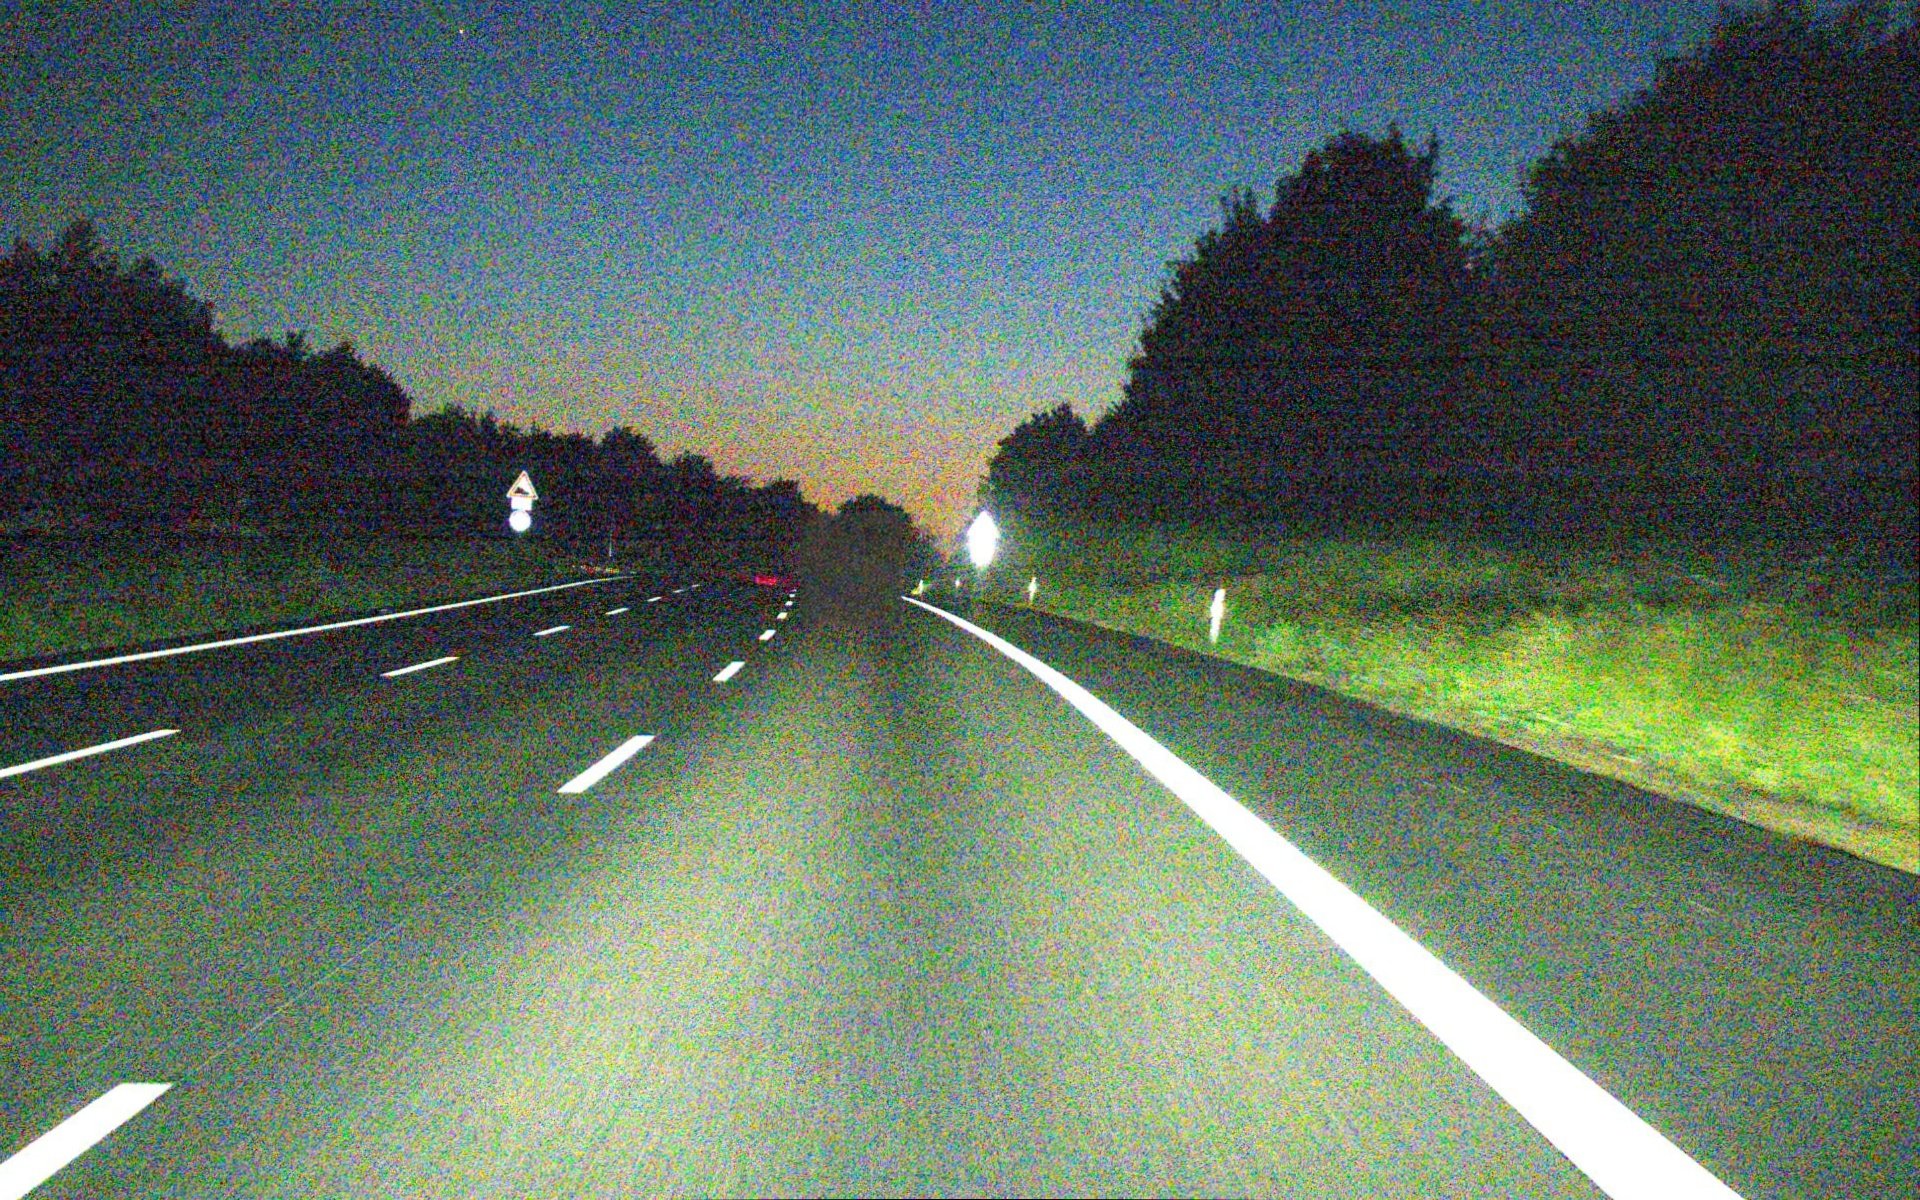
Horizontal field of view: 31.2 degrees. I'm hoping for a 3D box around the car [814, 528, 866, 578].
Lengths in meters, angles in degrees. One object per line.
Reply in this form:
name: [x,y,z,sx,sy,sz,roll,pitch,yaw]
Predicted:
car: [-6.408,-2.517,184.163,2.527,2.544,6.051,3,1,-1]
